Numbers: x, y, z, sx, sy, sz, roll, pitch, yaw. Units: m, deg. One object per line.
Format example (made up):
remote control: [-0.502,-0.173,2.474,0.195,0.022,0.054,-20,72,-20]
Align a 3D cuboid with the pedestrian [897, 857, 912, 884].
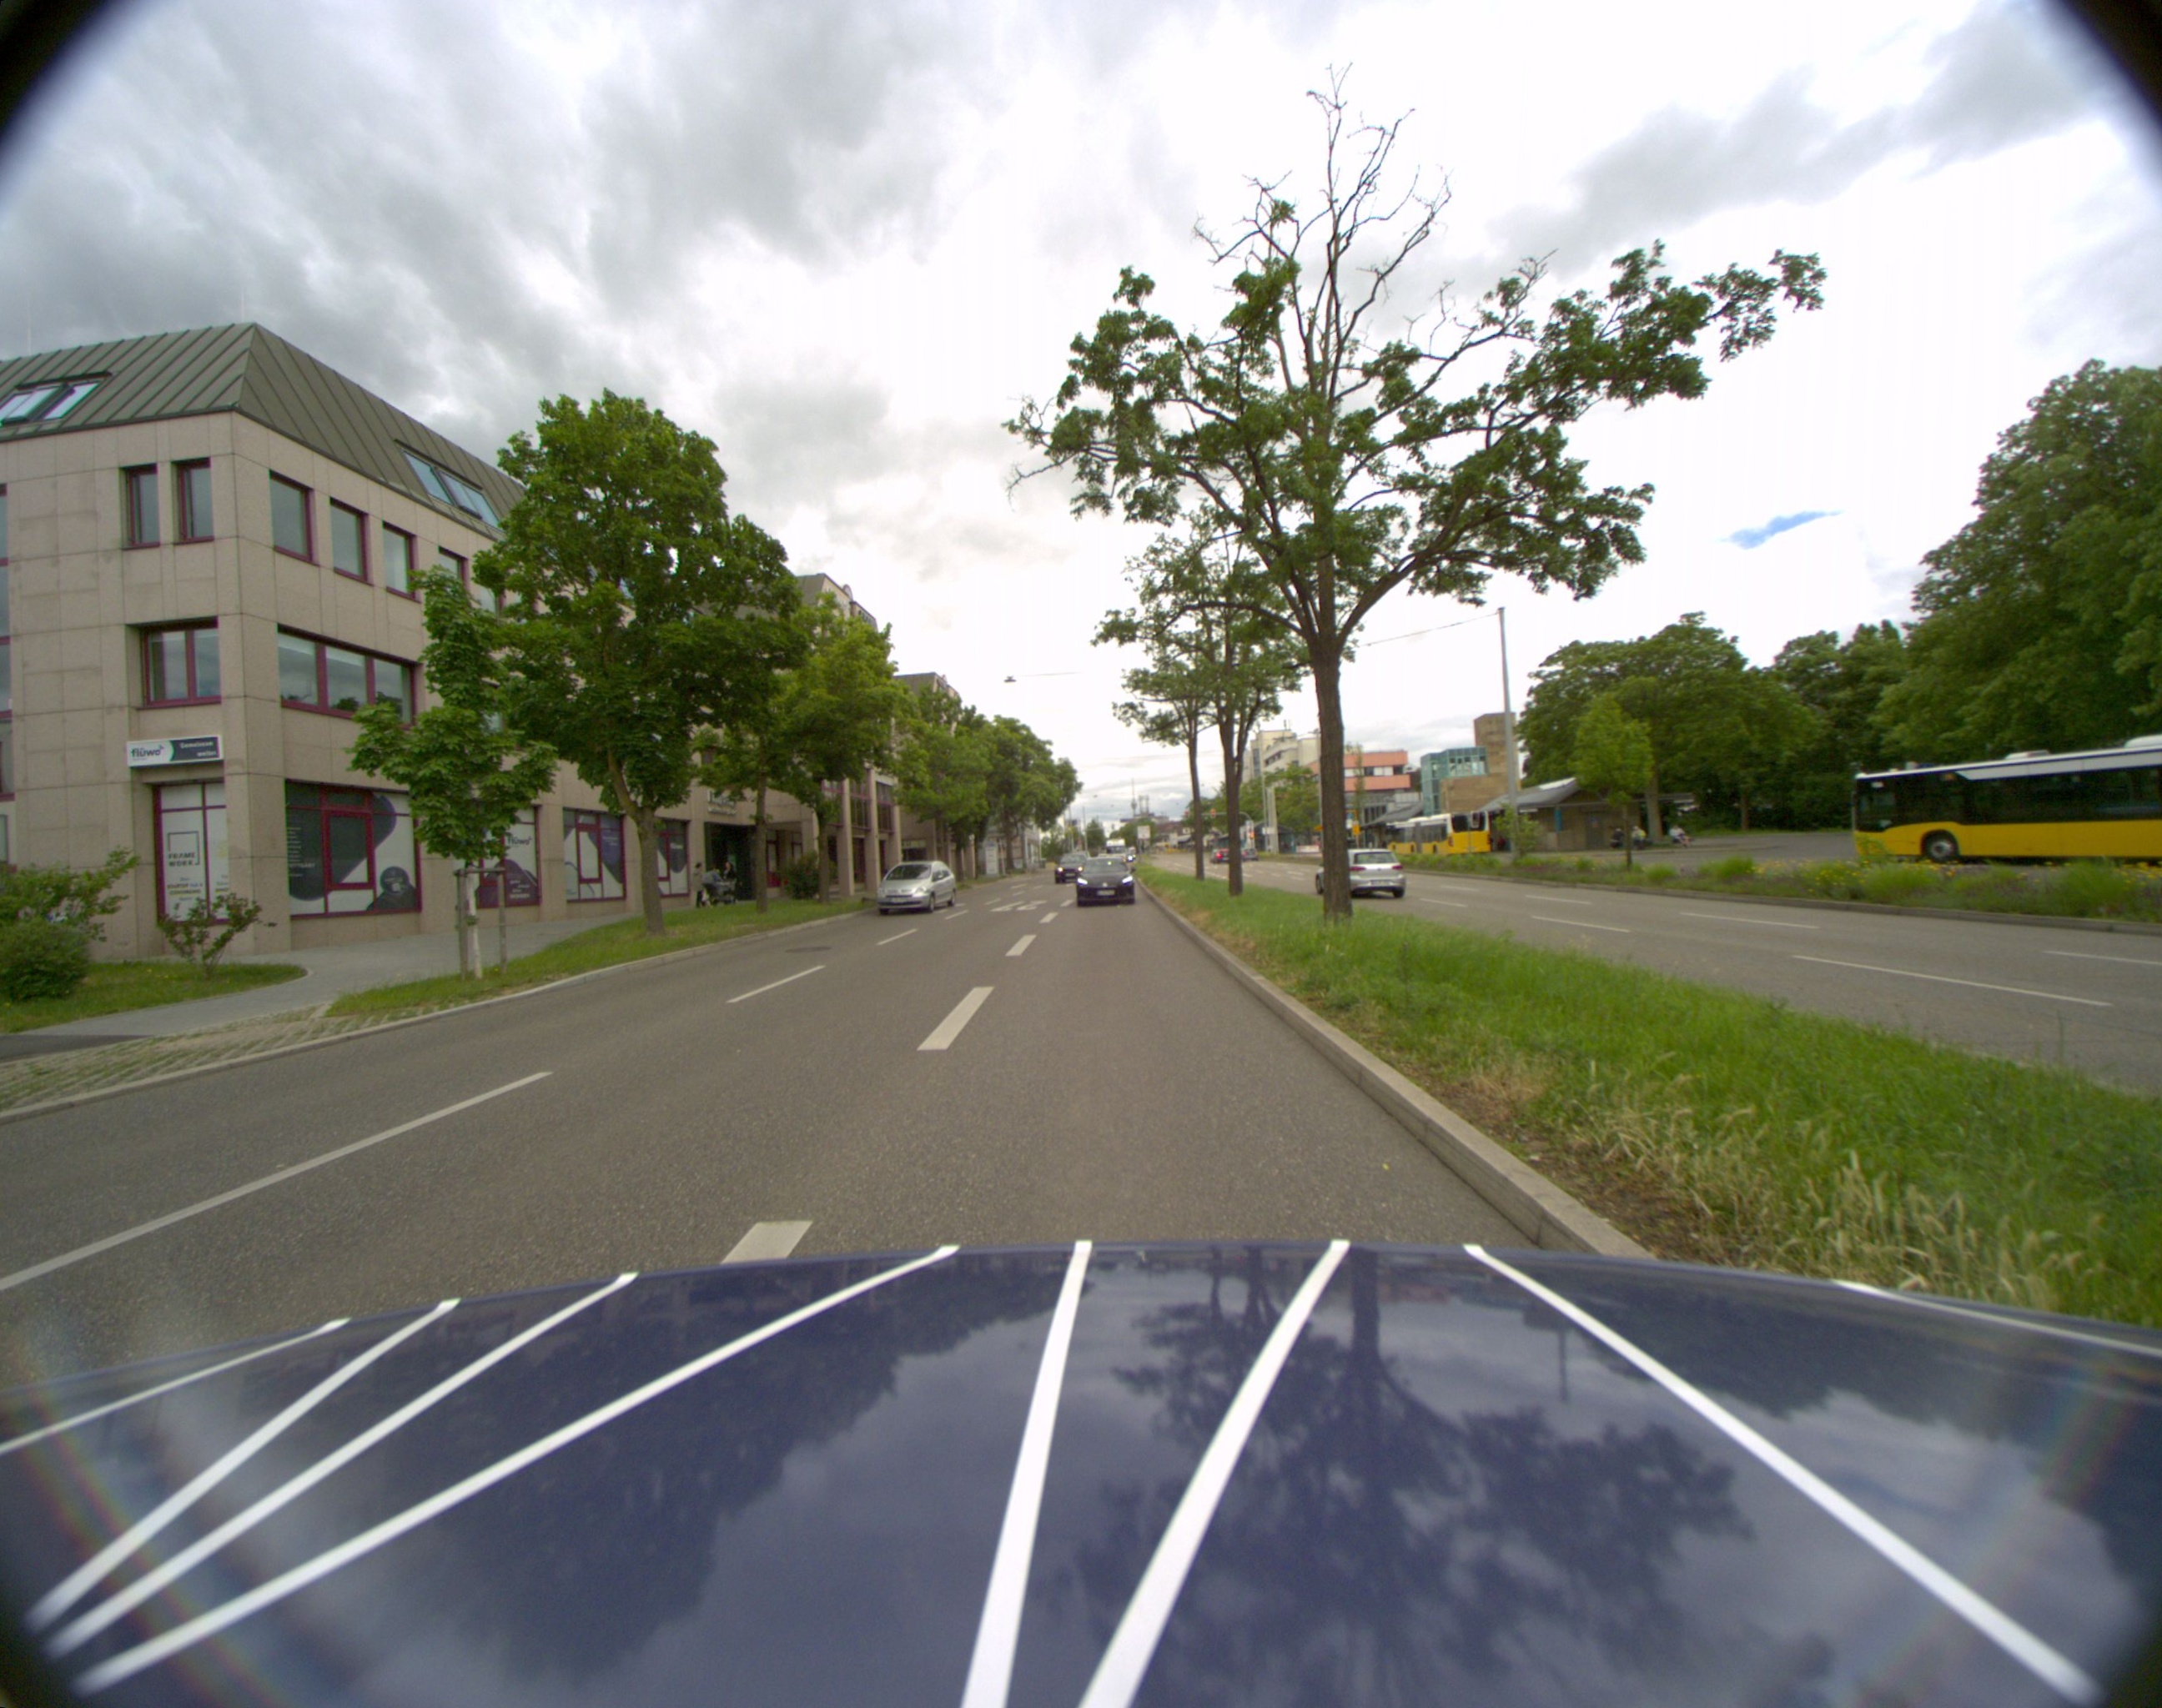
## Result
pedestrian: [-11.375,1.072,48.984,0.659,1.681,0.843,-1,1,6]

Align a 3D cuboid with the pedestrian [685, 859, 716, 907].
pedestrian: [-13.854,1.033,27.681,0.568,1.690,0.829,-3,1,6]

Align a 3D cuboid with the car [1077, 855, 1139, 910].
car: [0.894,0.835,24.235,1.763,1.531,4.048,-2,0,3]

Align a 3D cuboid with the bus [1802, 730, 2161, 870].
bus: [26.204,-1.364,20.899,3.090,3.144,10.740,-4,0,5]

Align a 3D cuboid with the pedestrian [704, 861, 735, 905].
pedestrian: [-14.460,1.130,30.421,0.596,1.695,0.970,-3,1,6]

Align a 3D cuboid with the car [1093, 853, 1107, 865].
car: [2.770,0.687,109.900,1.895,1.531,4.048,-2,0,3]

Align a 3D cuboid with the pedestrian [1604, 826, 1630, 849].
pedestrian: [30.575,-0.938,43.335,0.859,1.247,0.894,-3,1,-26]

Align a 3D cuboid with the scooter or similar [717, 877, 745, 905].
scooter or similar: [-13.014,1.375,28.274,0.585,0.988,0.847,-1,1,7]

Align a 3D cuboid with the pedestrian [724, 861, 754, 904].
pedestrian: [-13.748,1.129,30.529,0.596,1.695,0.970,-3,1,6]

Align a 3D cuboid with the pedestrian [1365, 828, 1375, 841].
pedestrian: [34.399,-2.358,90.448,0.990,1.452,0.592,-3,1,18]

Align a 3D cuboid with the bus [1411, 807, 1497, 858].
bus: [26.102,-1.434,53.742,2.814,3.113,9.306,-5,0,10]

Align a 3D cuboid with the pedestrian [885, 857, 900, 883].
pedestrian: [-12.160,1.024,48.936,0.659,1.681,0.843,-1,1,6]

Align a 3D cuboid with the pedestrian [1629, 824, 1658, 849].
pedestrian: [30.364,-0.944,41.046,0.859,1.283,0.894,-3,1,-22]

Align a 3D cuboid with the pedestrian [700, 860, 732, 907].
pedestrian: [-13.147,1.037,27.368,0.556,1.643,0.962,-1,1,7]

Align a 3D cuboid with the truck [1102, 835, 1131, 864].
truck: [4.171,-0.496,90.572,3.118,3.209,6.524,-3,0,1]

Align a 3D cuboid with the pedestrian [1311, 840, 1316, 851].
pedestrian: [32.612,-1.209,106.545,0.485,1.539,0.383,-3,1,-6]

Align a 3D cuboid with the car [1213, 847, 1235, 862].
car: [14.775,0.028,78.781,1.662,1.499,3.769,-3,1,2]

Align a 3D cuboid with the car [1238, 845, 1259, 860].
car: [18.612,-0.186,84.720,1.819,1.499,4.001,-3,1,6]

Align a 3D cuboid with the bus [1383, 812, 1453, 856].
bus: [27.651,-1.557,62.879,2.781,3.113,9.444,-5,0,9]

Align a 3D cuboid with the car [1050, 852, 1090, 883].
car: [-0.583,0.772,45.589,2.150,1.630,5.095,-4,0,1]

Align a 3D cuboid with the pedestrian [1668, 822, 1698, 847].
pedestrian: [31.958,-1.041,40.367,0.895,1.247,0.858,-3,1,3]

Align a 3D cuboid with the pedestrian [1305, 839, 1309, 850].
pedestrian: [31.697,-1.294,106.571,0.529,1.539,0.754,-3,1,18]

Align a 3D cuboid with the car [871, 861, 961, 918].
car: [-5.272,1.080,24.810,1.763,1.625,4.156,-2,0,3]

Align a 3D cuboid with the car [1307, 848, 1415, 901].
car: [8.457,0.589,23.309,1.757,1.436,4.134,-1,0,0]
